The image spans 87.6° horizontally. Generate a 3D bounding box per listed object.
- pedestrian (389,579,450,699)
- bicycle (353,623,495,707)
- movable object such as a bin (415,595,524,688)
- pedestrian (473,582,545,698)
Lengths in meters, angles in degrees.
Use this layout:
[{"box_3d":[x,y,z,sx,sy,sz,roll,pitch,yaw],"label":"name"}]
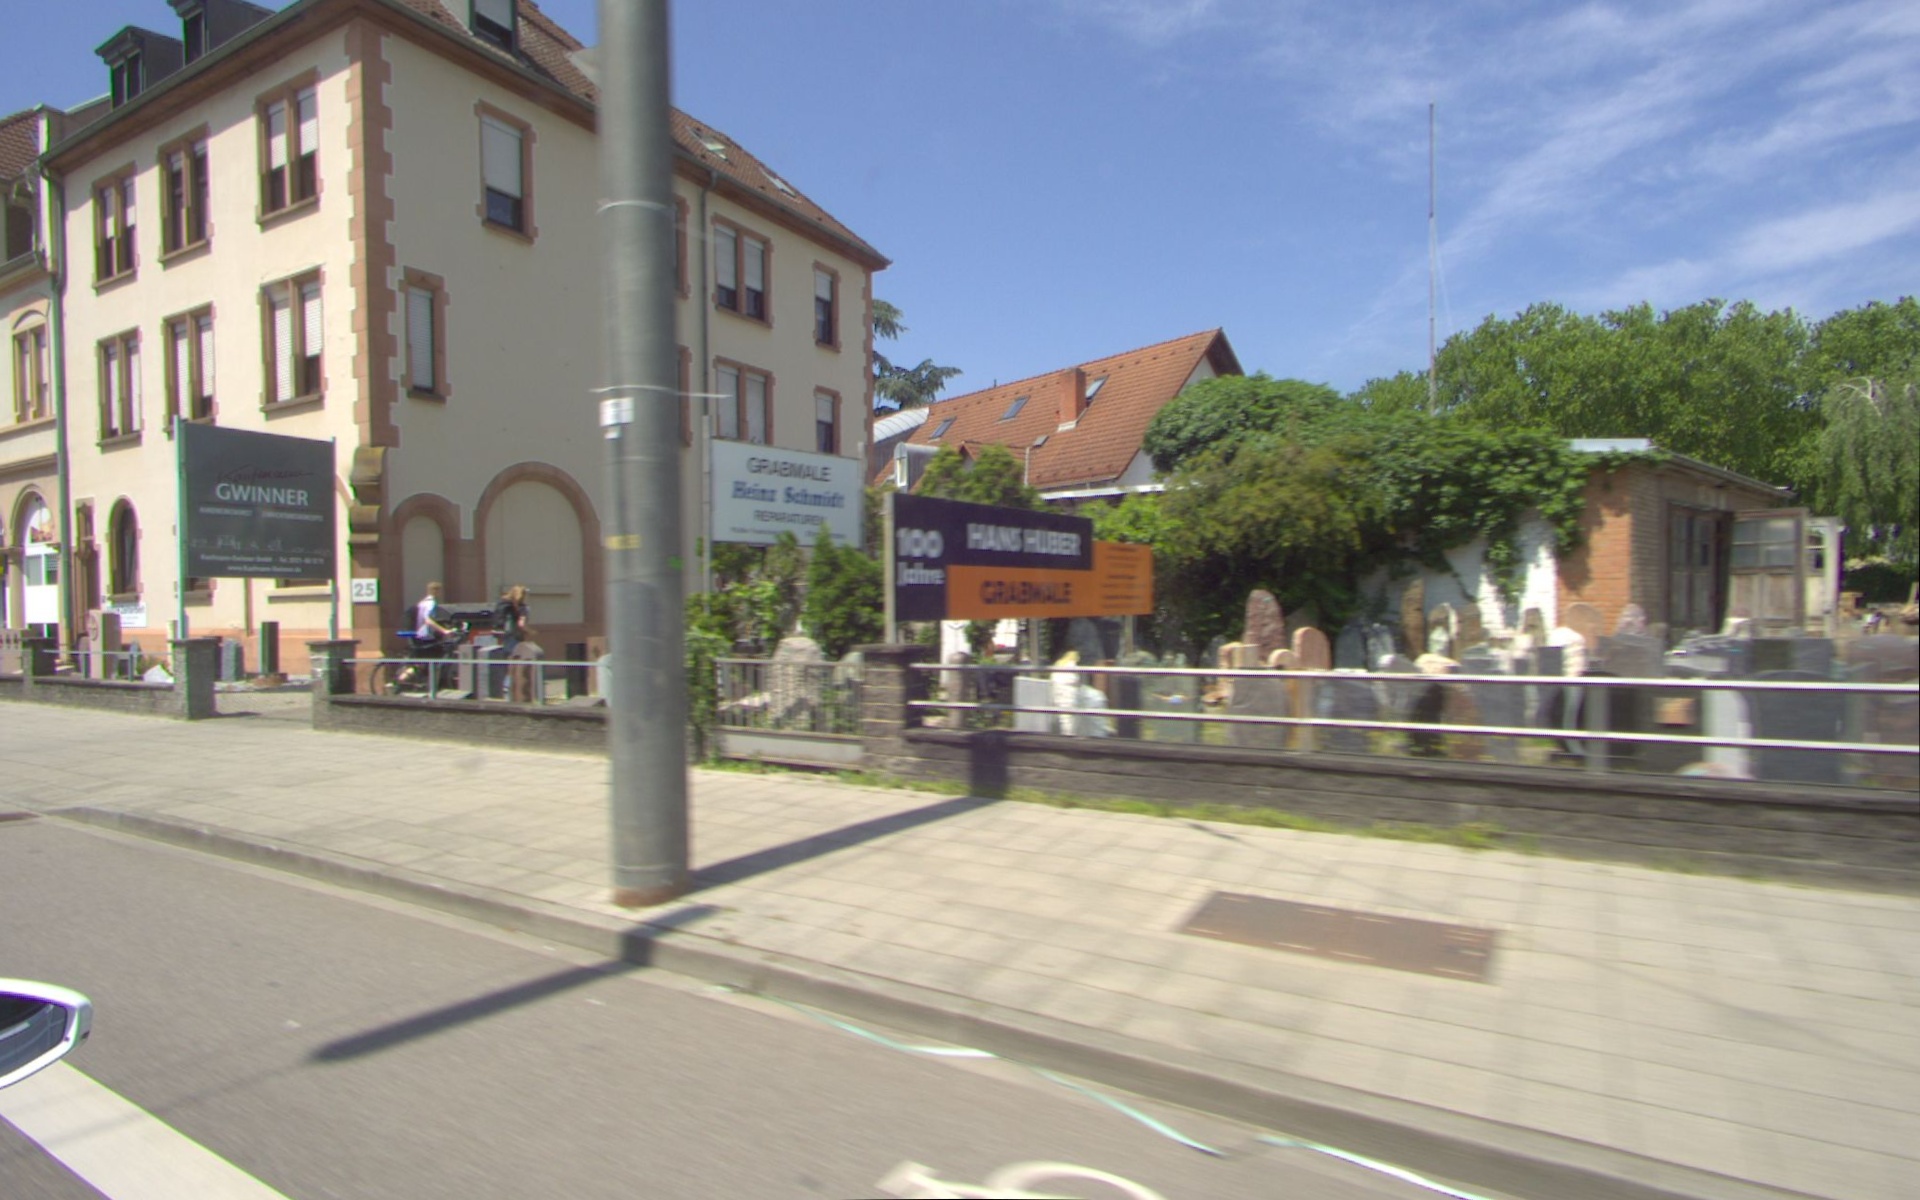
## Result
[{"box_3d":[-8.317,0.589,15.410,0.497,1.796,0.684,0,1,41],"label":"pedestrian"},{"box_3d":[-8.072,0.950,15.135,0.583,1.142,1.793,0,1,40],"label":"bicycle"},{"box_3d":[-8.545,0.699,17.471,1.031,1.519,1.326,0,2,32],"label":"movable object such as a bin"},{"box_3d":[-6.848,0.590,15.200,0.582,1.713,0.820,0,1,41],"label":"pedestrian"}]
